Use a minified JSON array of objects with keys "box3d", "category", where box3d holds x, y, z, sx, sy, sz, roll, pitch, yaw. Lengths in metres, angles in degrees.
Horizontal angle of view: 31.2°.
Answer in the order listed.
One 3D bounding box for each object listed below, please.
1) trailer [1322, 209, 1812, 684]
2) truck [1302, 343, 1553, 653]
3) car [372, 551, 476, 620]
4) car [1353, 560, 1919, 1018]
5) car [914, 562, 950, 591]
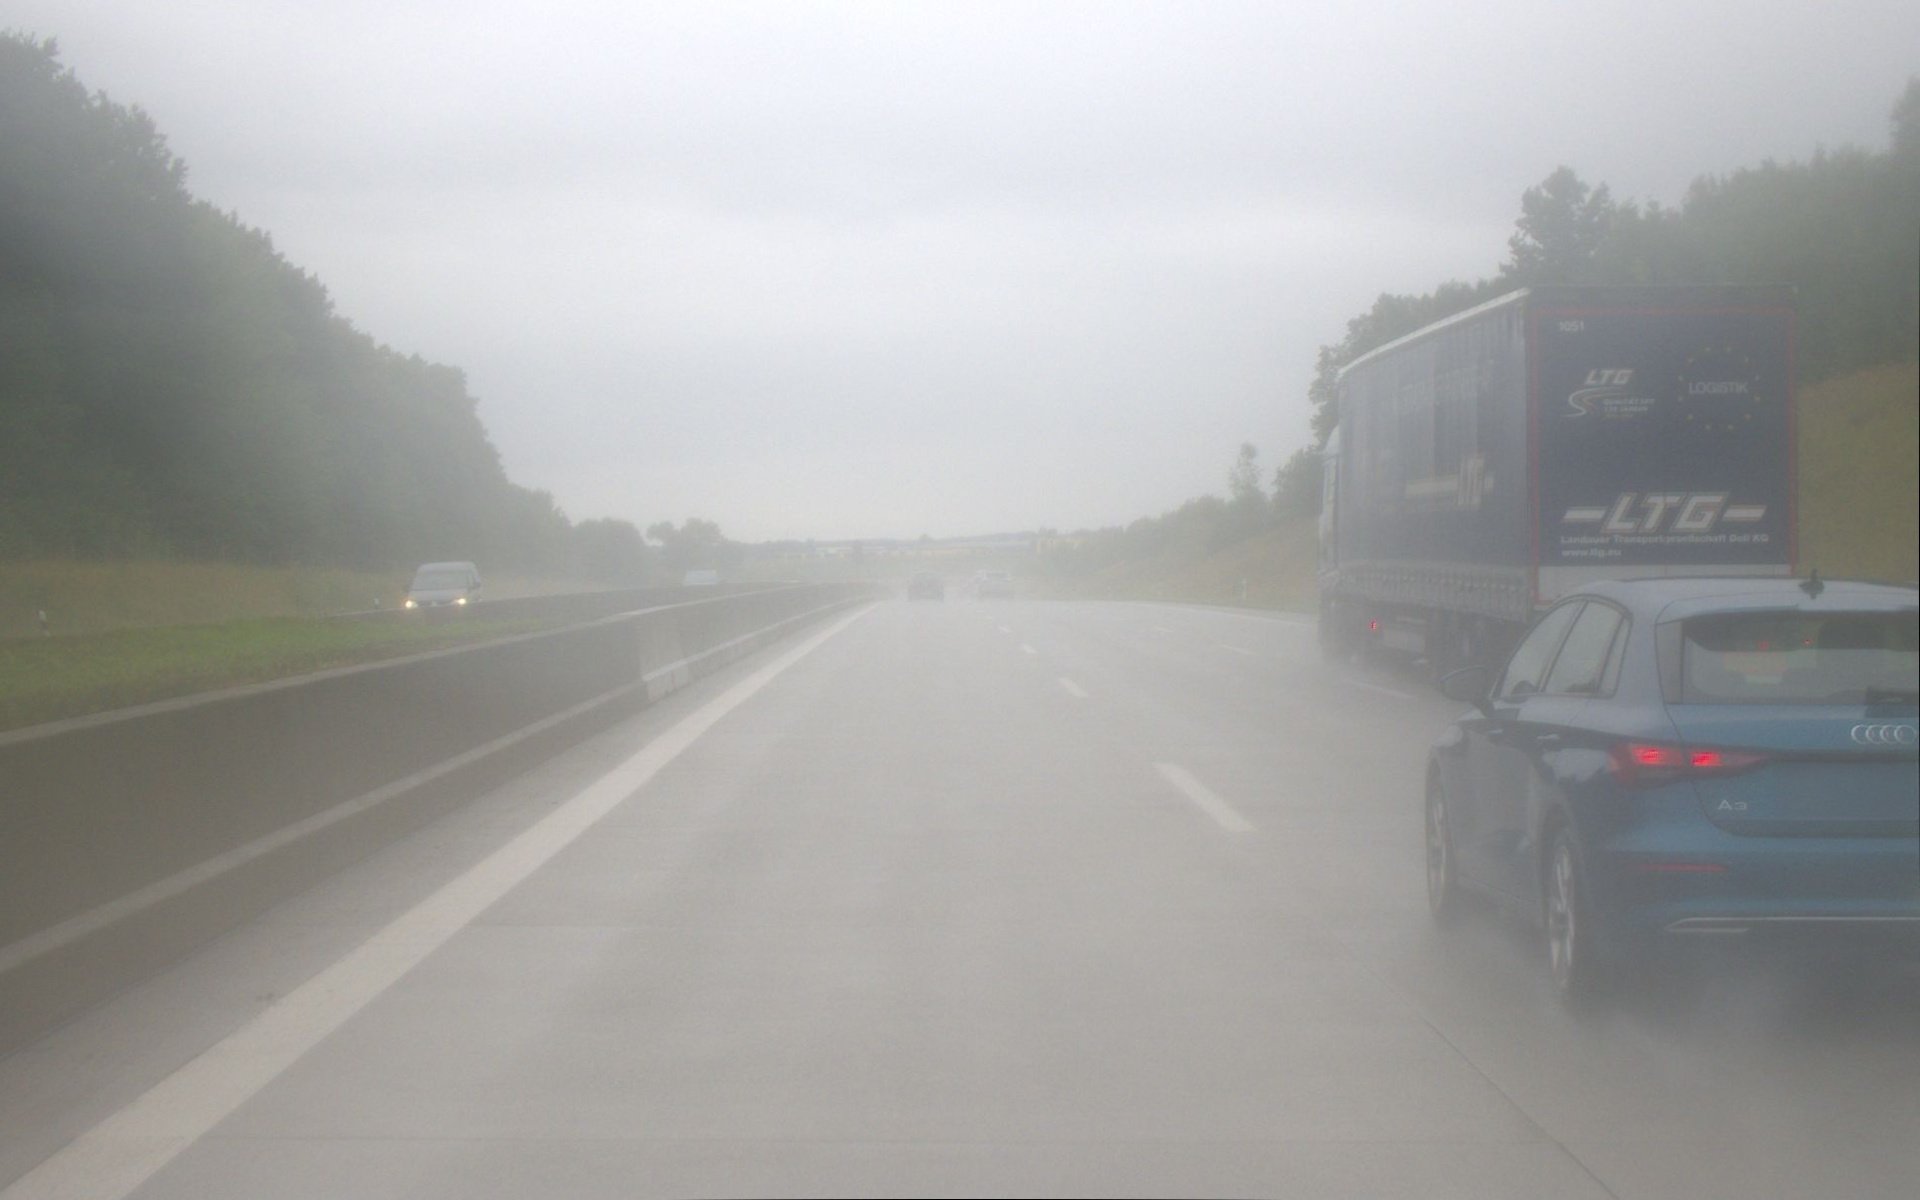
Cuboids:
[{"box3d":[6.425,-1.490,39.470,2.706,4.364,15.205,1,0,-1],"category":"trailer"},{"box3d":[6.280,-1.337,46.958,2.636,3.940,5.686,1,1,0],"category":"truck"},{"box3d":[-13.745,-0.375,88.360,1.879,1.659,4.687,-2,0,0],"category":"car"},{"box3d":[2.702,0.612,13.392,1.729,1.454,4.672,-1,0,-1],"category":"car"},{"box3d":[-1.353,-1.142,165.448,1.729,1.326,4.430,0,1,-1],"category":"car"}]
